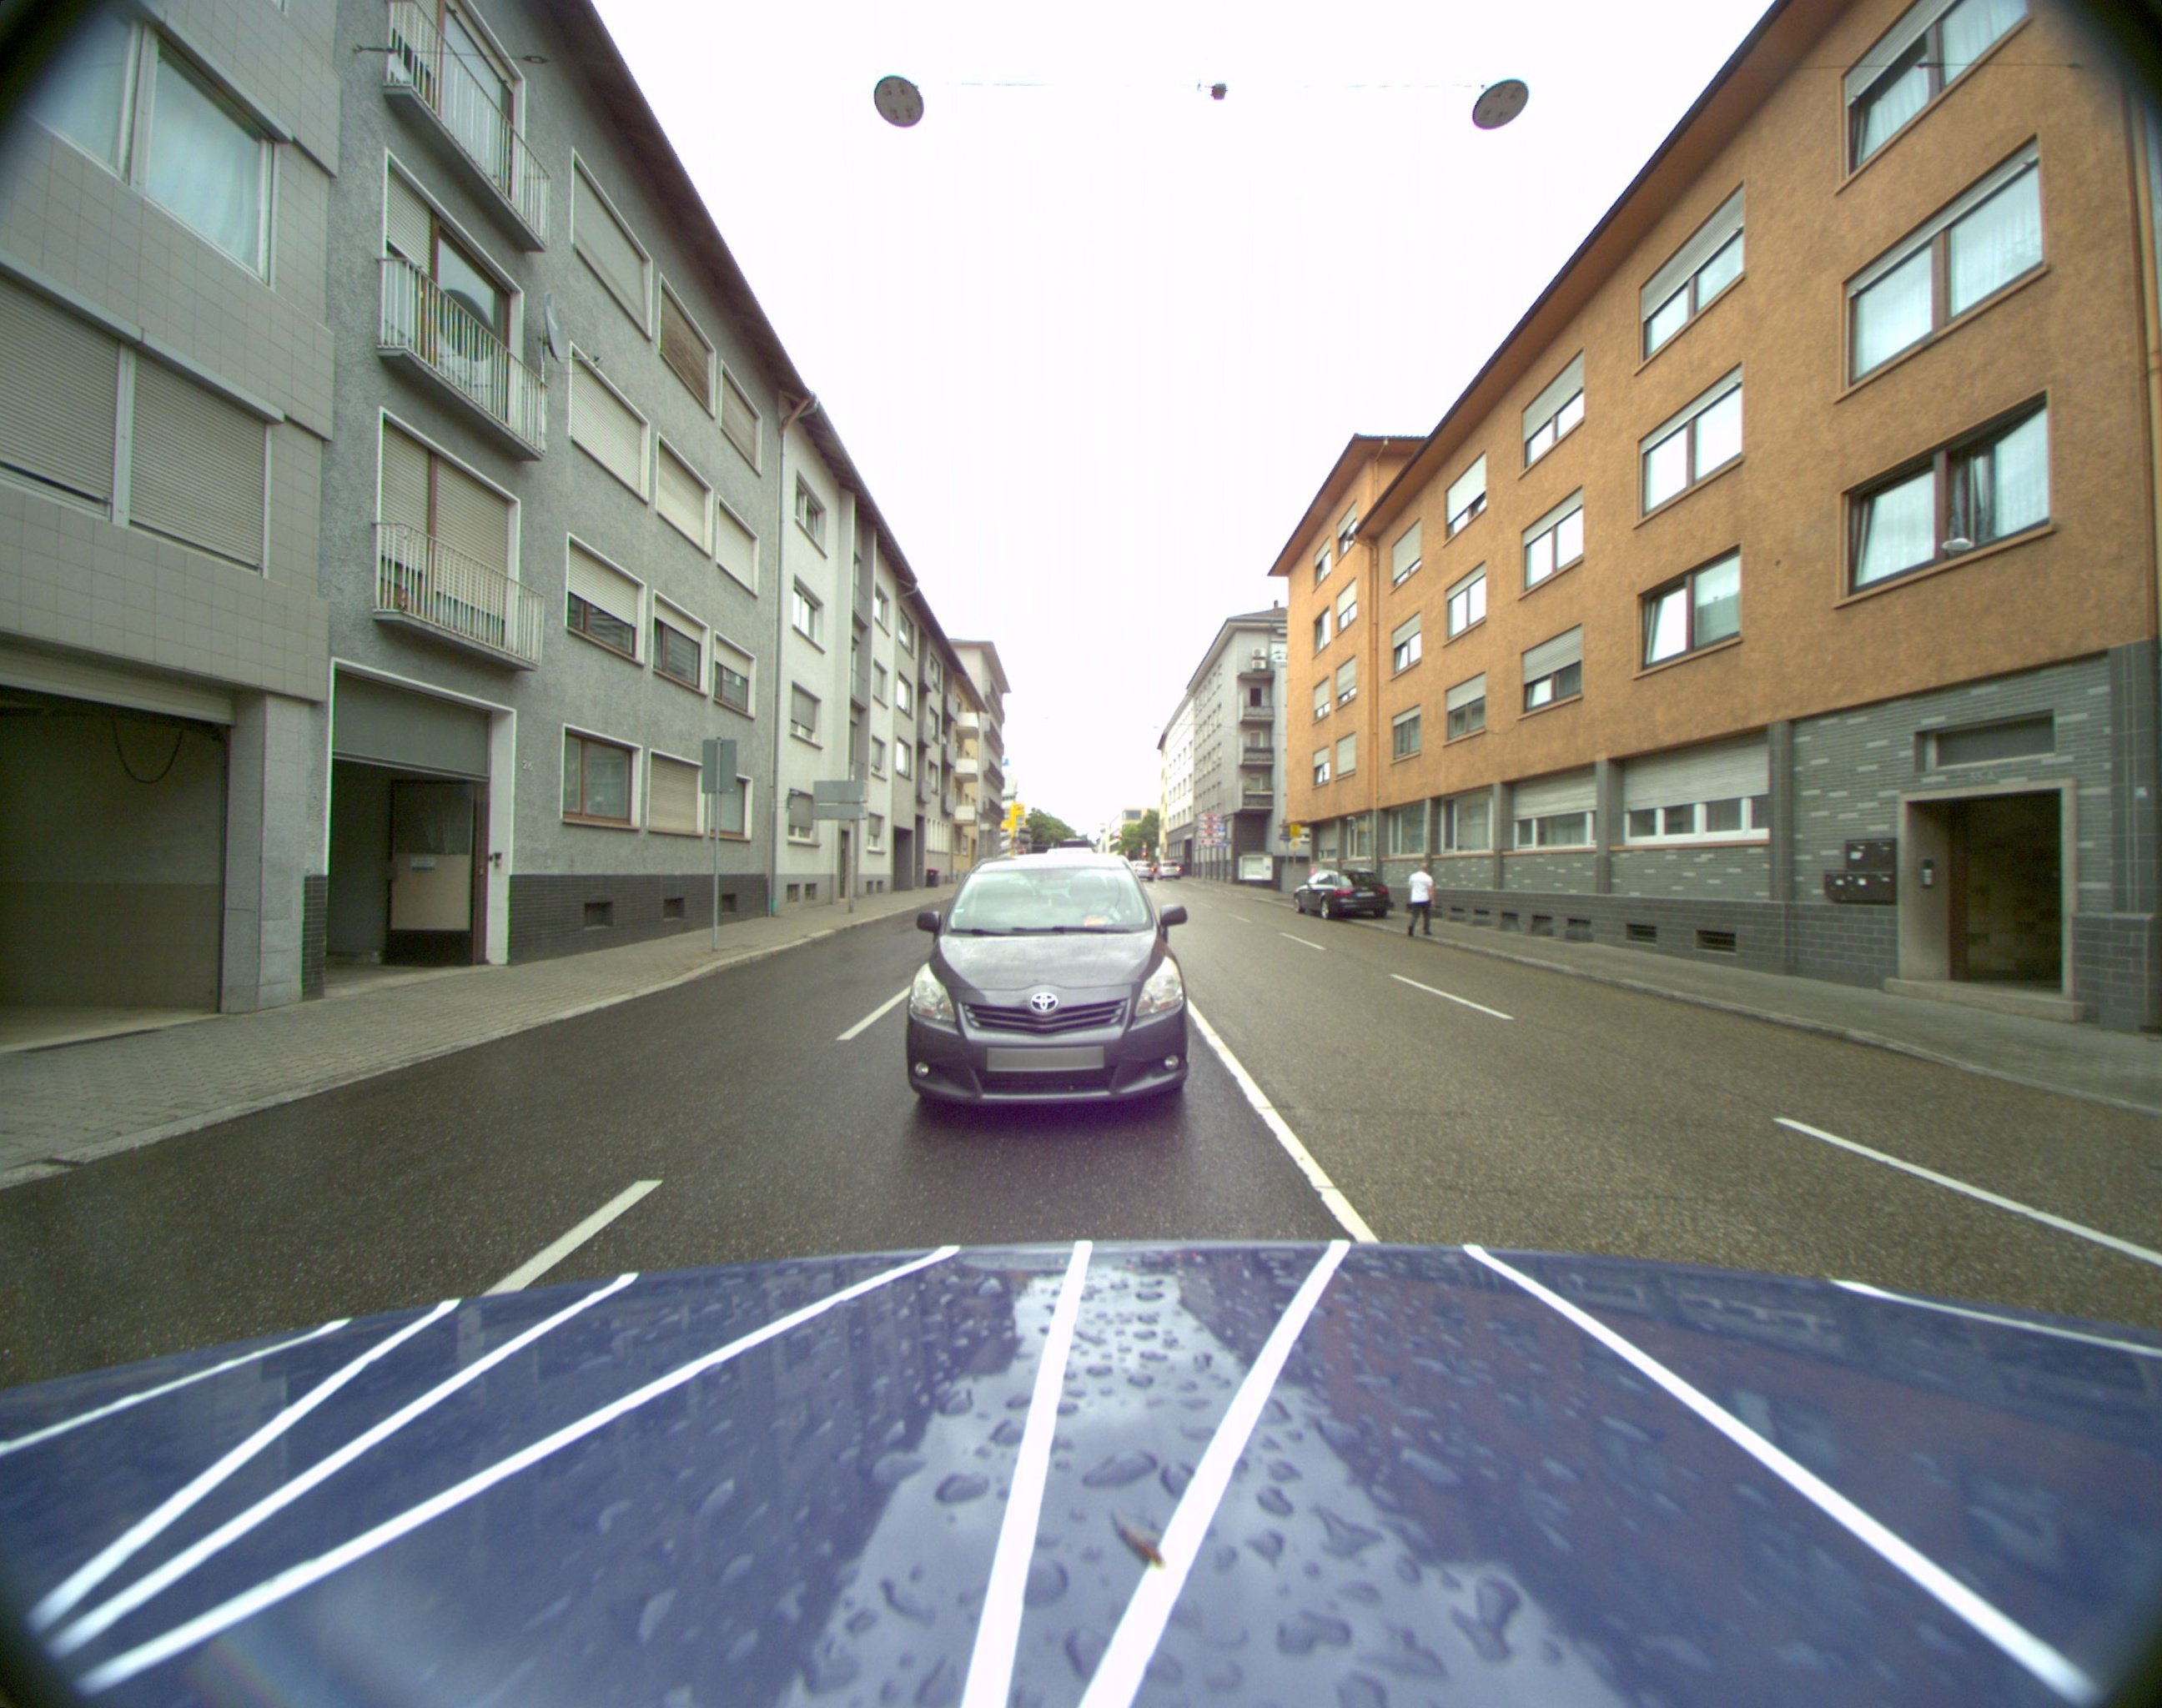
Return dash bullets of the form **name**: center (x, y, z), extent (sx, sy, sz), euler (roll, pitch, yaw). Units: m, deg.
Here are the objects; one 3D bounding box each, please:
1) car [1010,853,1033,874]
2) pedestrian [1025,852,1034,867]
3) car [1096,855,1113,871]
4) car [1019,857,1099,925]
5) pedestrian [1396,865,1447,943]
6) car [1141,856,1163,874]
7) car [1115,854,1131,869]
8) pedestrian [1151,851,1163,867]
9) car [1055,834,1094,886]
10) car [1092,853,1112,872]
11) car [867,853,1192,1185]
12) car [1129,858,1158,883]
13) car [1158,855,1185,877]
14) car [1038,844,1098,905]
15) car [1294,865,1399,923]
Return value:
- **car**: center (-5.126, 0.794, 65.867), extent (1.856, 1.663, 4.215), euler (-2, 1, -4)
- **pedestrian**: center (-6.334, 0.679, 93.575), extent (1.119, 1.741, 0.961), euler (1, 1, -5)
- **car**: center (2.848, 1.075, 92.767), extent (1.856, 1.712, 4.217), euler (-2, 1, 1)
- **car**: center (-0.502, 0.891, 20.077), extent (1.856, 1.524, 3.792), euler (-2, 1, 1)
- **pedestrian**: center (7.645, 1.095, 17.042), extent (0.766, 1.630, 1.025), euler (-1, 1, 38)
- **car**: center (7.261, 1.073, 77.657), extent (1.856, 1.712, 4.217), euler (-2, 1, 1)
- **car**: center (5.358, 0.928, 97.345), extent (1.856, 1.712, 4.217), euler (-2, 1, 1)
- **pedestrian**: center (9.622, 0.593, 96.576), extent (1.309, 2.002, 1.258), euler (-2, 1, 1)
- **car**: center (-0.328, 0.299, 43.625), extent (2.033, 2.731, 4.368), euler (-2, 1, 1)
- **car**: center (2.015, 0.826, 73.639), extent (1.856, 1.712, 4.217), euler (-2, 1, 1)
- **car**: center (-0.249, 0.898, 6.233), extent (1.699, 1.712, 4.217), euler (-2, 1, 1)
- **car**: center (4.757, 1.227, 58.170), extent (1.856, 1.651, 4.610), euler (-2, 1, 1)
- **car**: center (7.820, 1.000, 65.733), extent (1.856, 1.712, 4.217), euler (-2, 1, 1)
- **car**: center (-0.393, 0.635, 26.611), extent (1.856, 1.882, 4.217), euler (-2, 1, 1)
- **car**: center (8.046, 1.147, 23.441), extent (1.799, 1.466, 4.217), euler (-2, 1, 1)
